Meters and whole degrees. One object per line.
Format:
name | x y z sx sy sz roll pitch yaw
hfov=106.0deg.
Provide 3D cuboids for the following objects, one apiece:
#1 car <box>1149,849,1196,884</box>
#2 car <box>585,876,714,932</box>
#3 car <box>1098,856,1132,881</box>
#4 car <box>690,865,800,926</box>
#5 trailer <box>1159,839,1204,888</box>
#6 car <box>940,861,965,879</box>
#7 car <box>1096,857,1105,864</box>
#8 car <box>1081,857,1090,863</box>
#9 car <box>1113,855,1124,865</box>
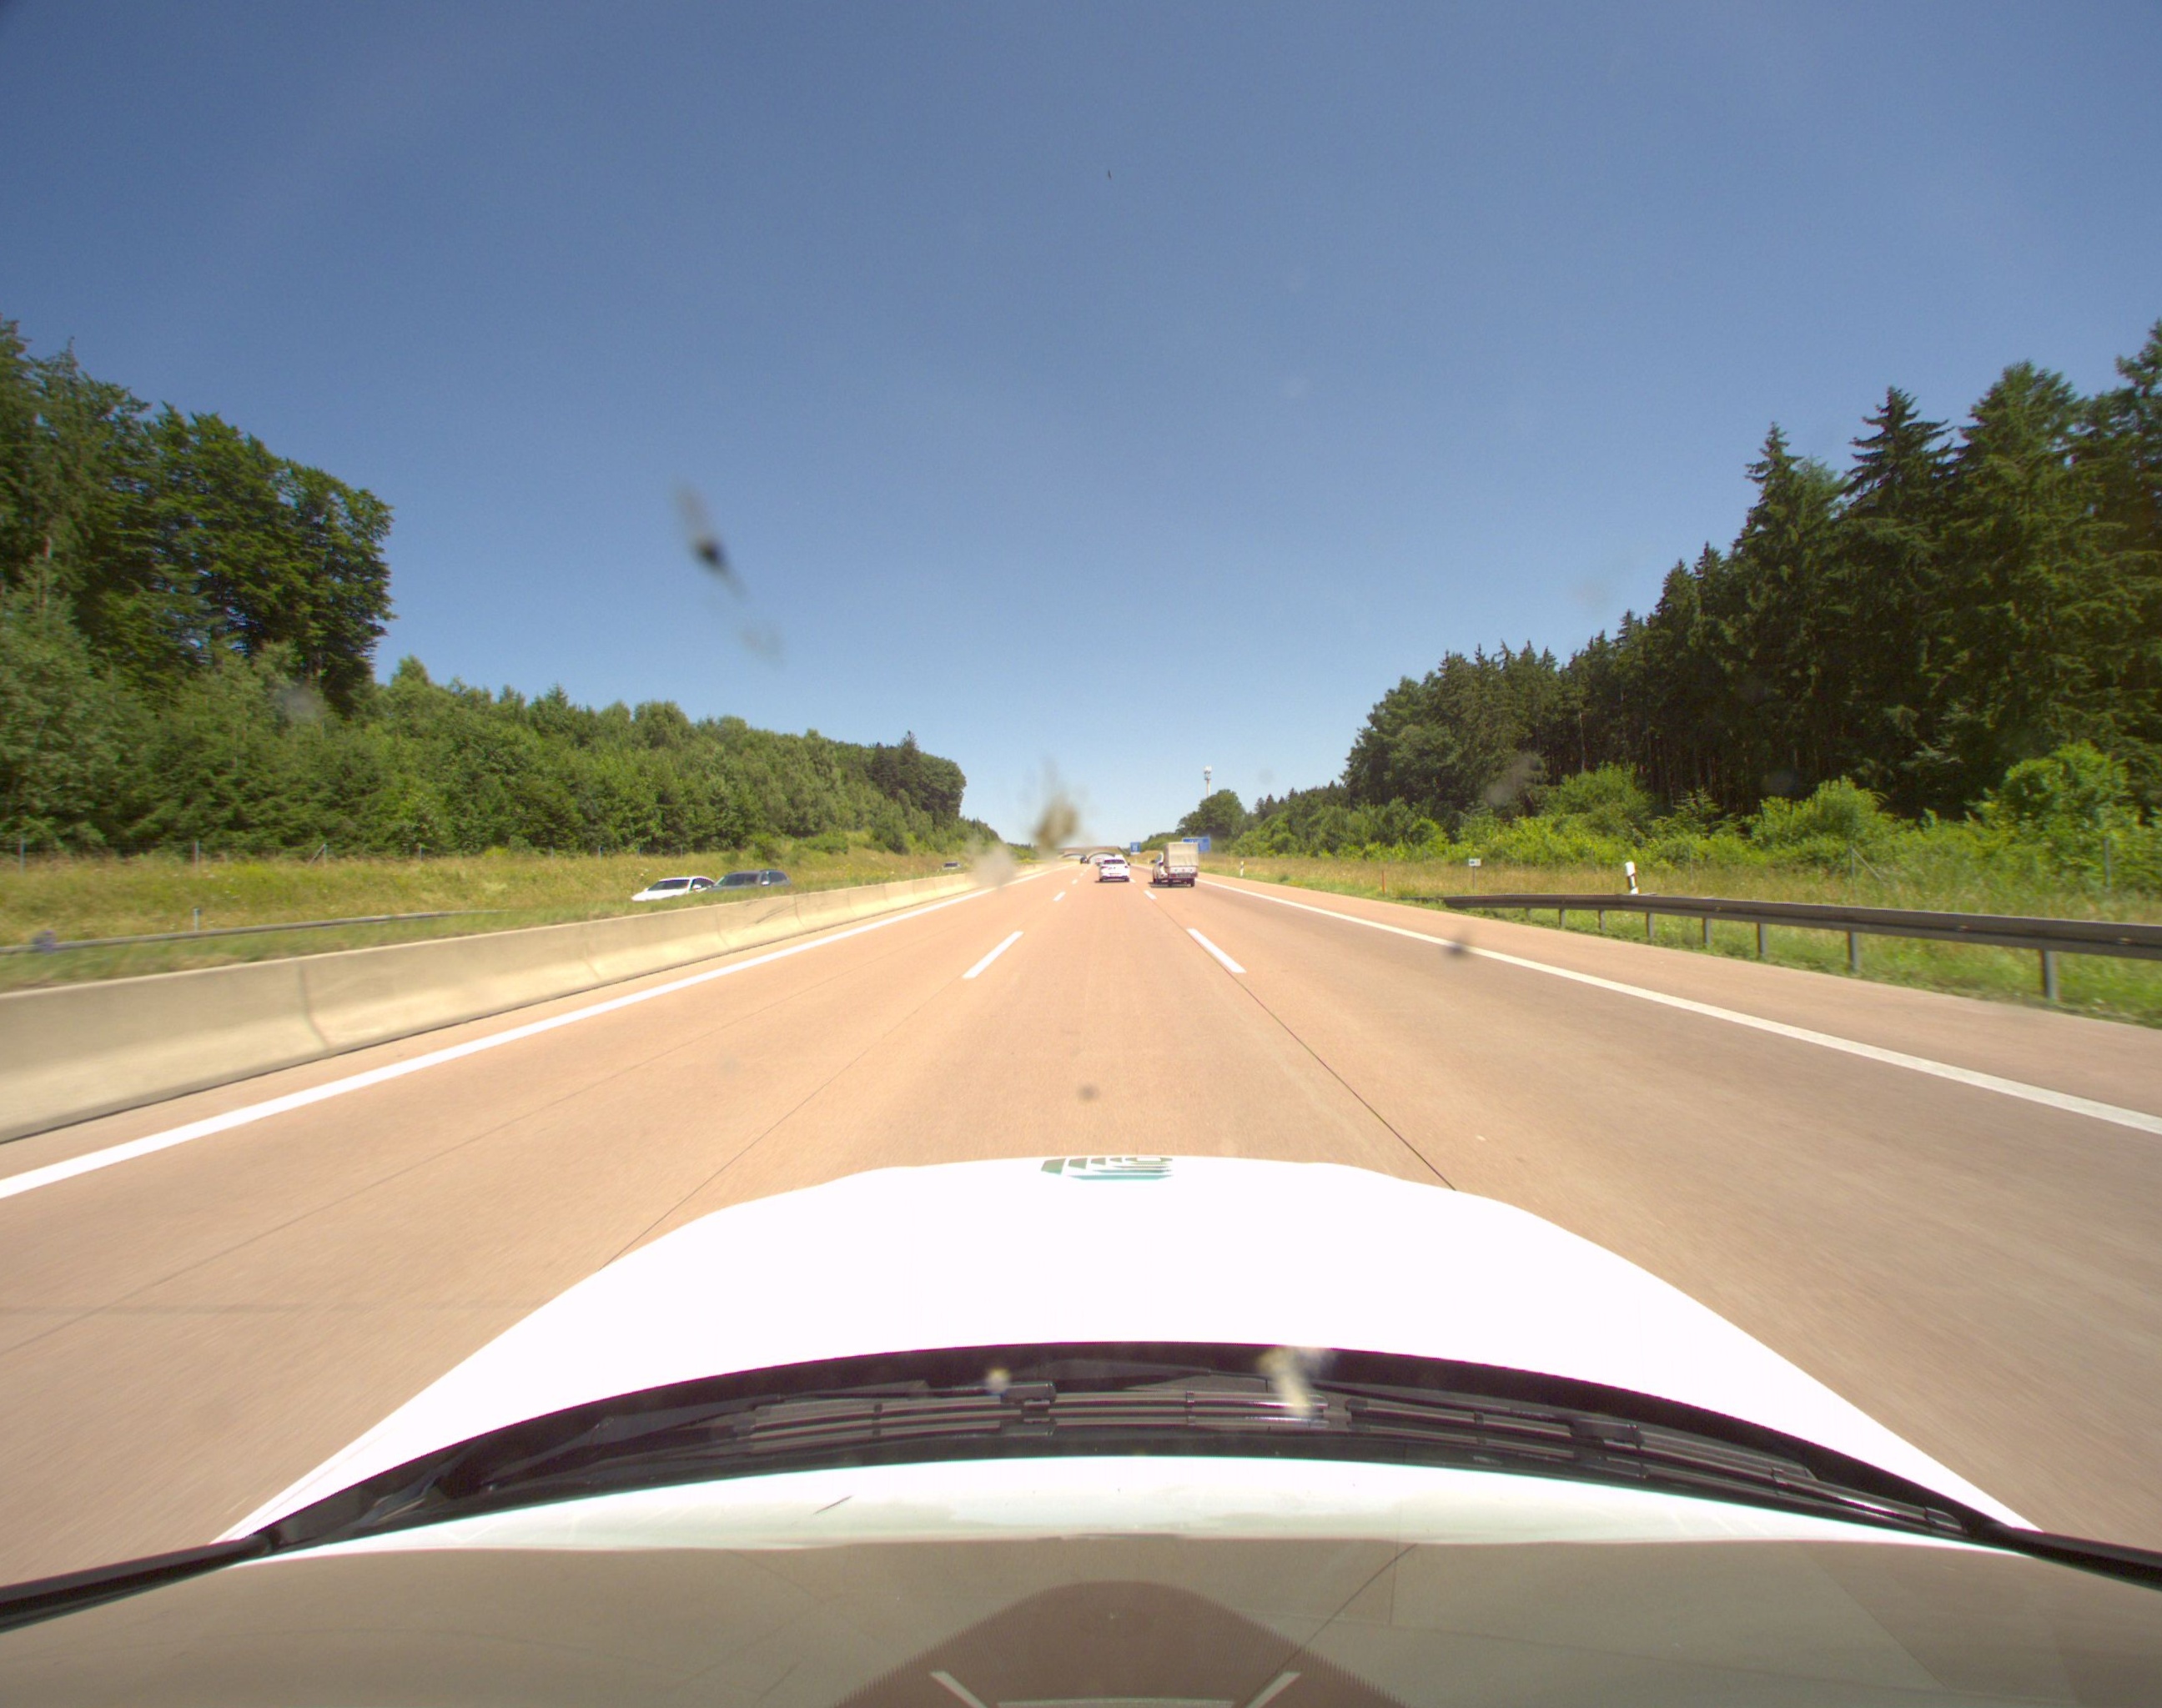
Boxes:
car | 4.819 0.663 43.537 1.885 1.728 5.185 -1 0 0
car | -14.596 1.622 27.851 1.884 1.594 4.466 -1 0 2
car | 1.974 0.801 47.734 1.884 1.398 4.001 0 0 1
car | -10.985 1.278 26.957 1.886 1.738 4.460 -1 0 -2
trailer | 4.746 0.452 38.972 1.652 2.164 4.016 -1 -1 0
car | -13.542 1.631 86.007 1.885 1.738 4.463 -1 0 0
car | 4.248 1.462 179.754 1.884 1.463 4.002 -1 0 2
car | 0.999 1.431 191.206 1.883 1.463 4.004 -1 0 3
car | 7.756 1.173 166.473 2.101 2.054 4.004 -1 0 3
